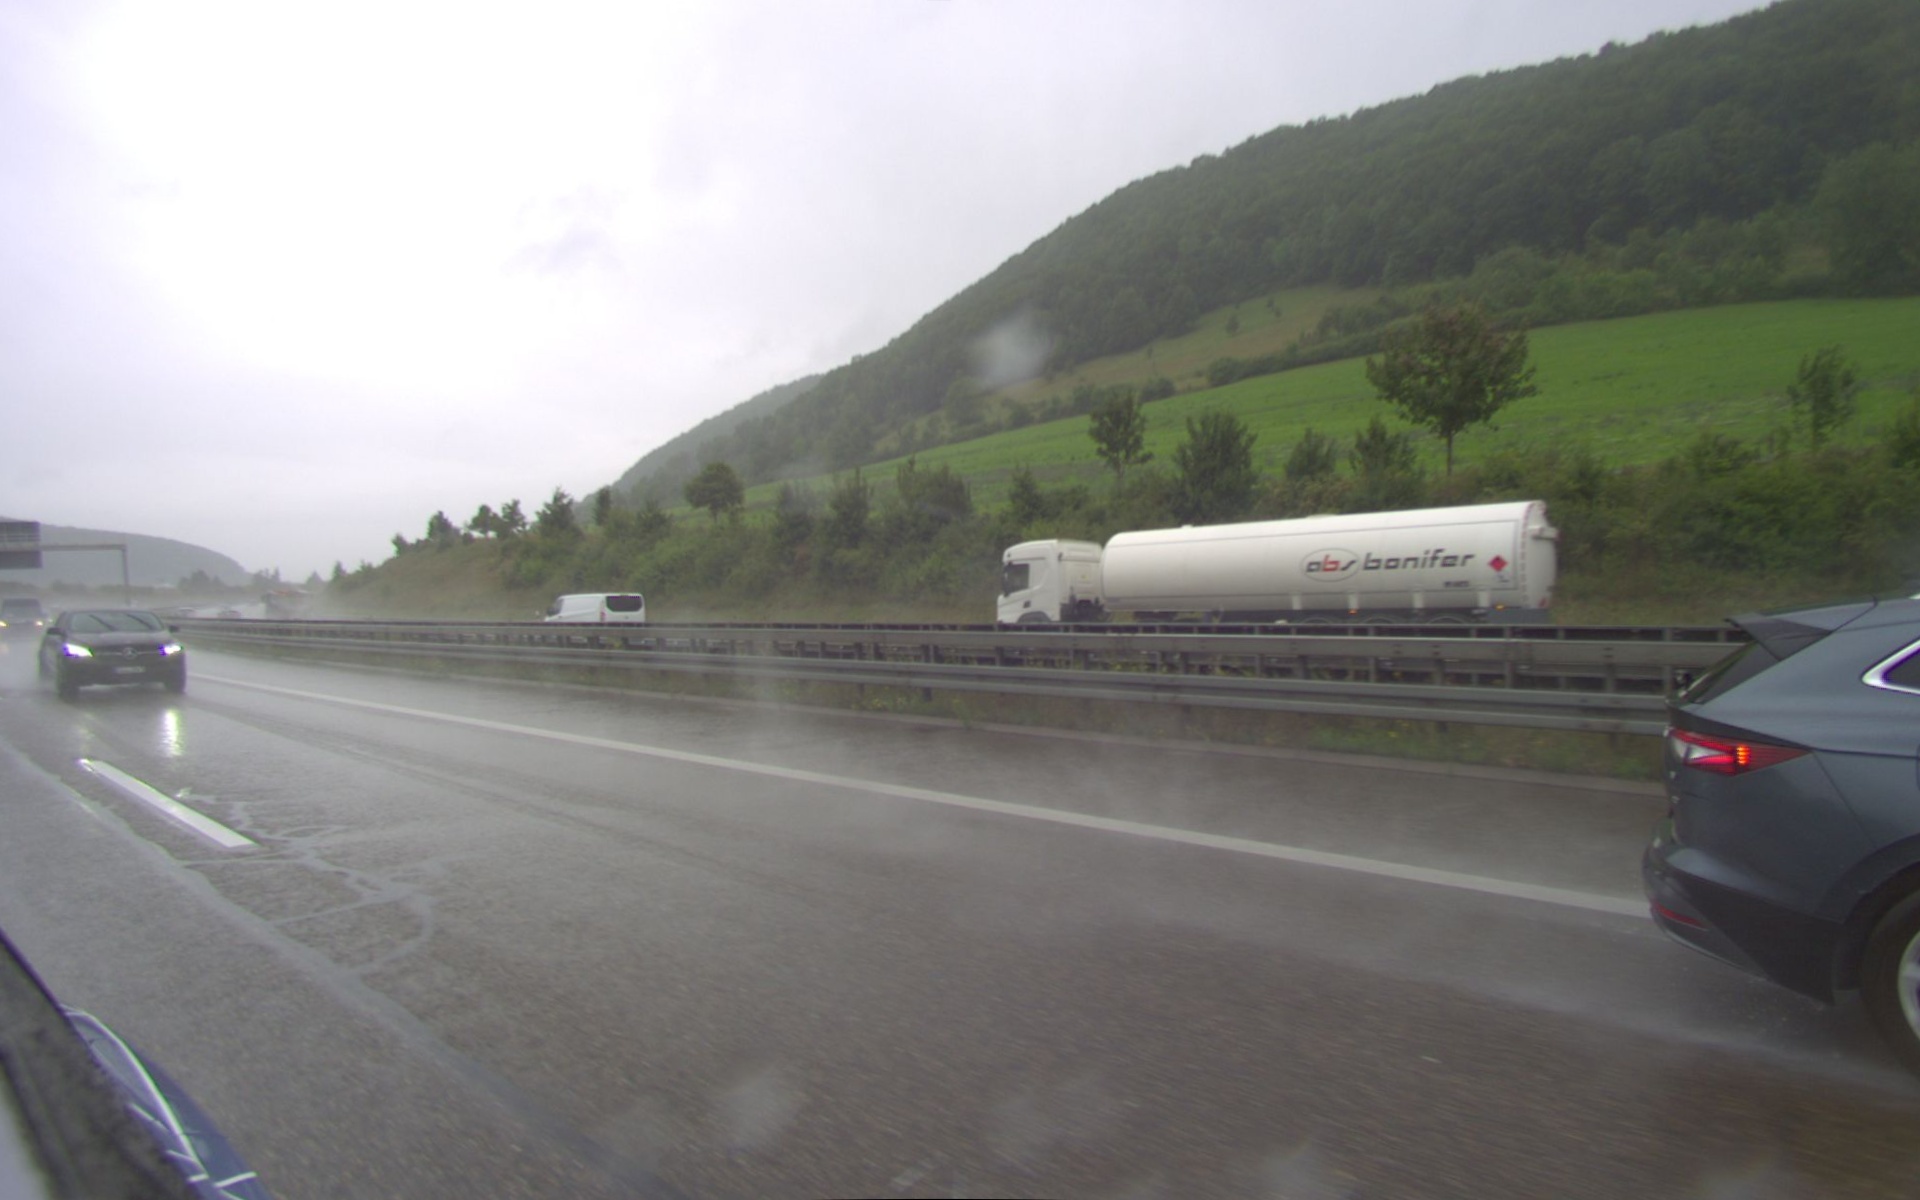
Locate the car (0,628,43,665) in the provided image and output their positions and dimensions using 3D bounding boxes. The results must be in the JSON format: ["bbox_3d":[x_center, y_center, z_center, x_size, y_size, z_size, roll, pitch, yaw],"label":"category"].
[{"bbox_3d":[-55.918,2.728,60.041,3.934,2.029,1.960,-2,-1,44],"label":"car"}]

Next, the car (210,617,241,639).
[{"bbox_3d":[-72.148,2.702,99.397,4.002,2.029,1.892,-1,0,45],"label":"car"}]

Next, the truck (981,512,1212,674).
[{"bbox_3d":[3.529,-0.115,26.704,5.312,3.831,2.854,-1,-1,40],"label":"truck"}]

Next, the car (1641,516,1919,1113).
[{"bbox_3d":[4.726,0.565,2.401,4.908,1.696,1.972,-2,-3,42],"label":"car"}]

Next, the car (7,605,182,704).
[{"bbox_3d":[-17.217,0.998,20.086,3.741,1.715,1.794,0,2,36],"label":"car"}]

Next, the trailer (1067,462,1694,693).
[{"bbox_3d":[8.405,-0.282,22.474,12.558,3.932,2.903,-1,-1,40],"label":"trailer"}]

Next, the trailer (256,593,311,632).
[{"bbox_3d":[-64.993,1.205,97.099,2.688,3.517,9.401,0,0,-44],"label":"trailer"}]

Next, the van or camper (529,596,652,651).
[{"bbox_3d":[-13.750,0.855,37.462,5.344,1.892,1.973,-1,-1,41],"label":"van or camper"}]
